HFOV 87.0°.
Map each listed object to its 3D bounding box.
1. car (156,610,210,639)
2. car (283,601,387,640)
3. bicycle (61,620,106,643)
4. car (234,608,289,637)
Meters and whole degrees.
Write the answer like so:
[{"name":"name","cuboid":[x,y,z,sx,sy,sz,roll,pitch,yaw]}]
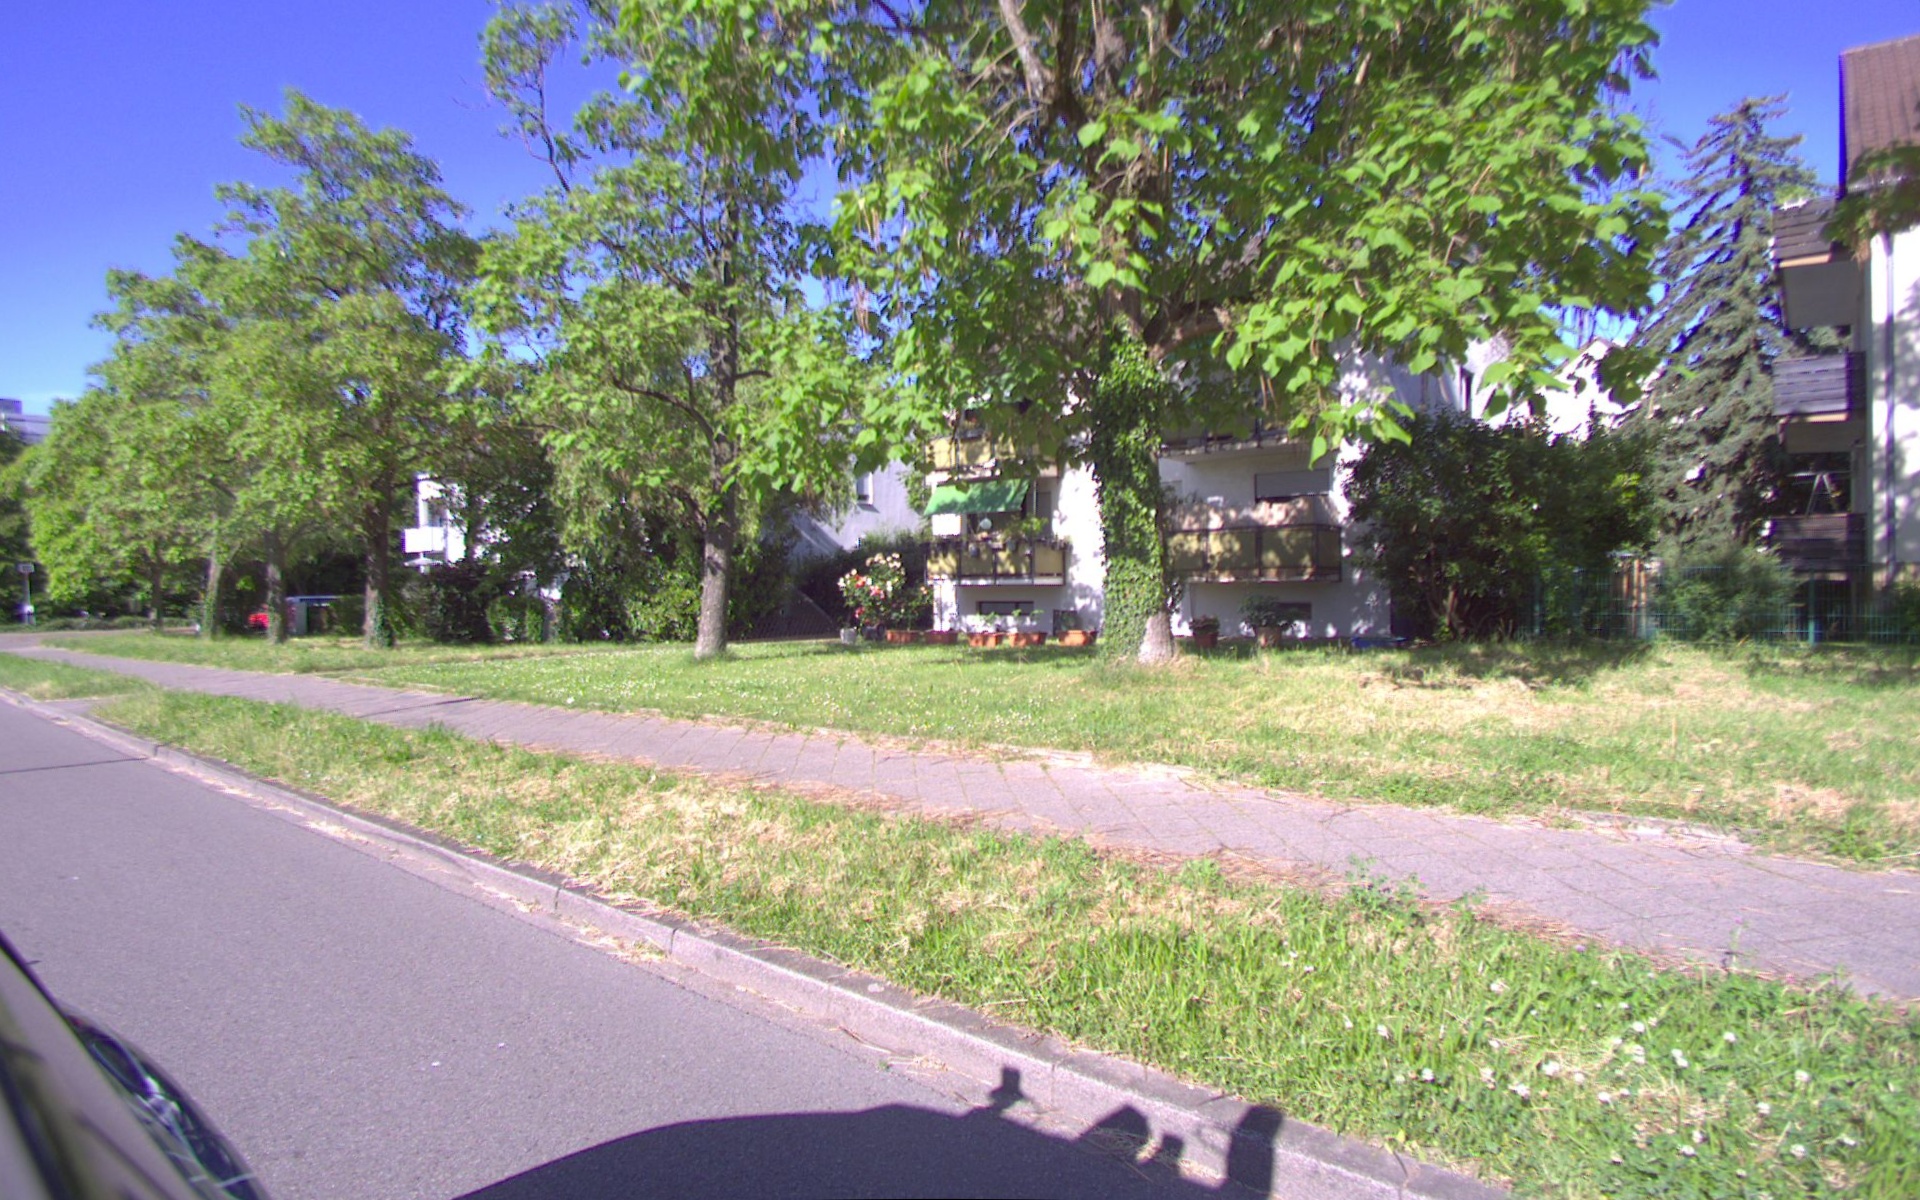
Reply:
[{"name":"car","cuboid":[-44.424,1.371,57.841,3.882,1.498,1.653,1,2,40]},{"name":"car","cuboid":[-33.664,1.081,54.606,2.069,1.984,4.402,-2,-1,43]},{"name":"bicycle","cuboid":[-49.574,1.786,57.256,1.875,1.160,0.762,-1,4,-39]},{"name":"car","cuboid":[-41.084,1.301,59.506,3.882,1.498,1.653,1,2,40]}]
